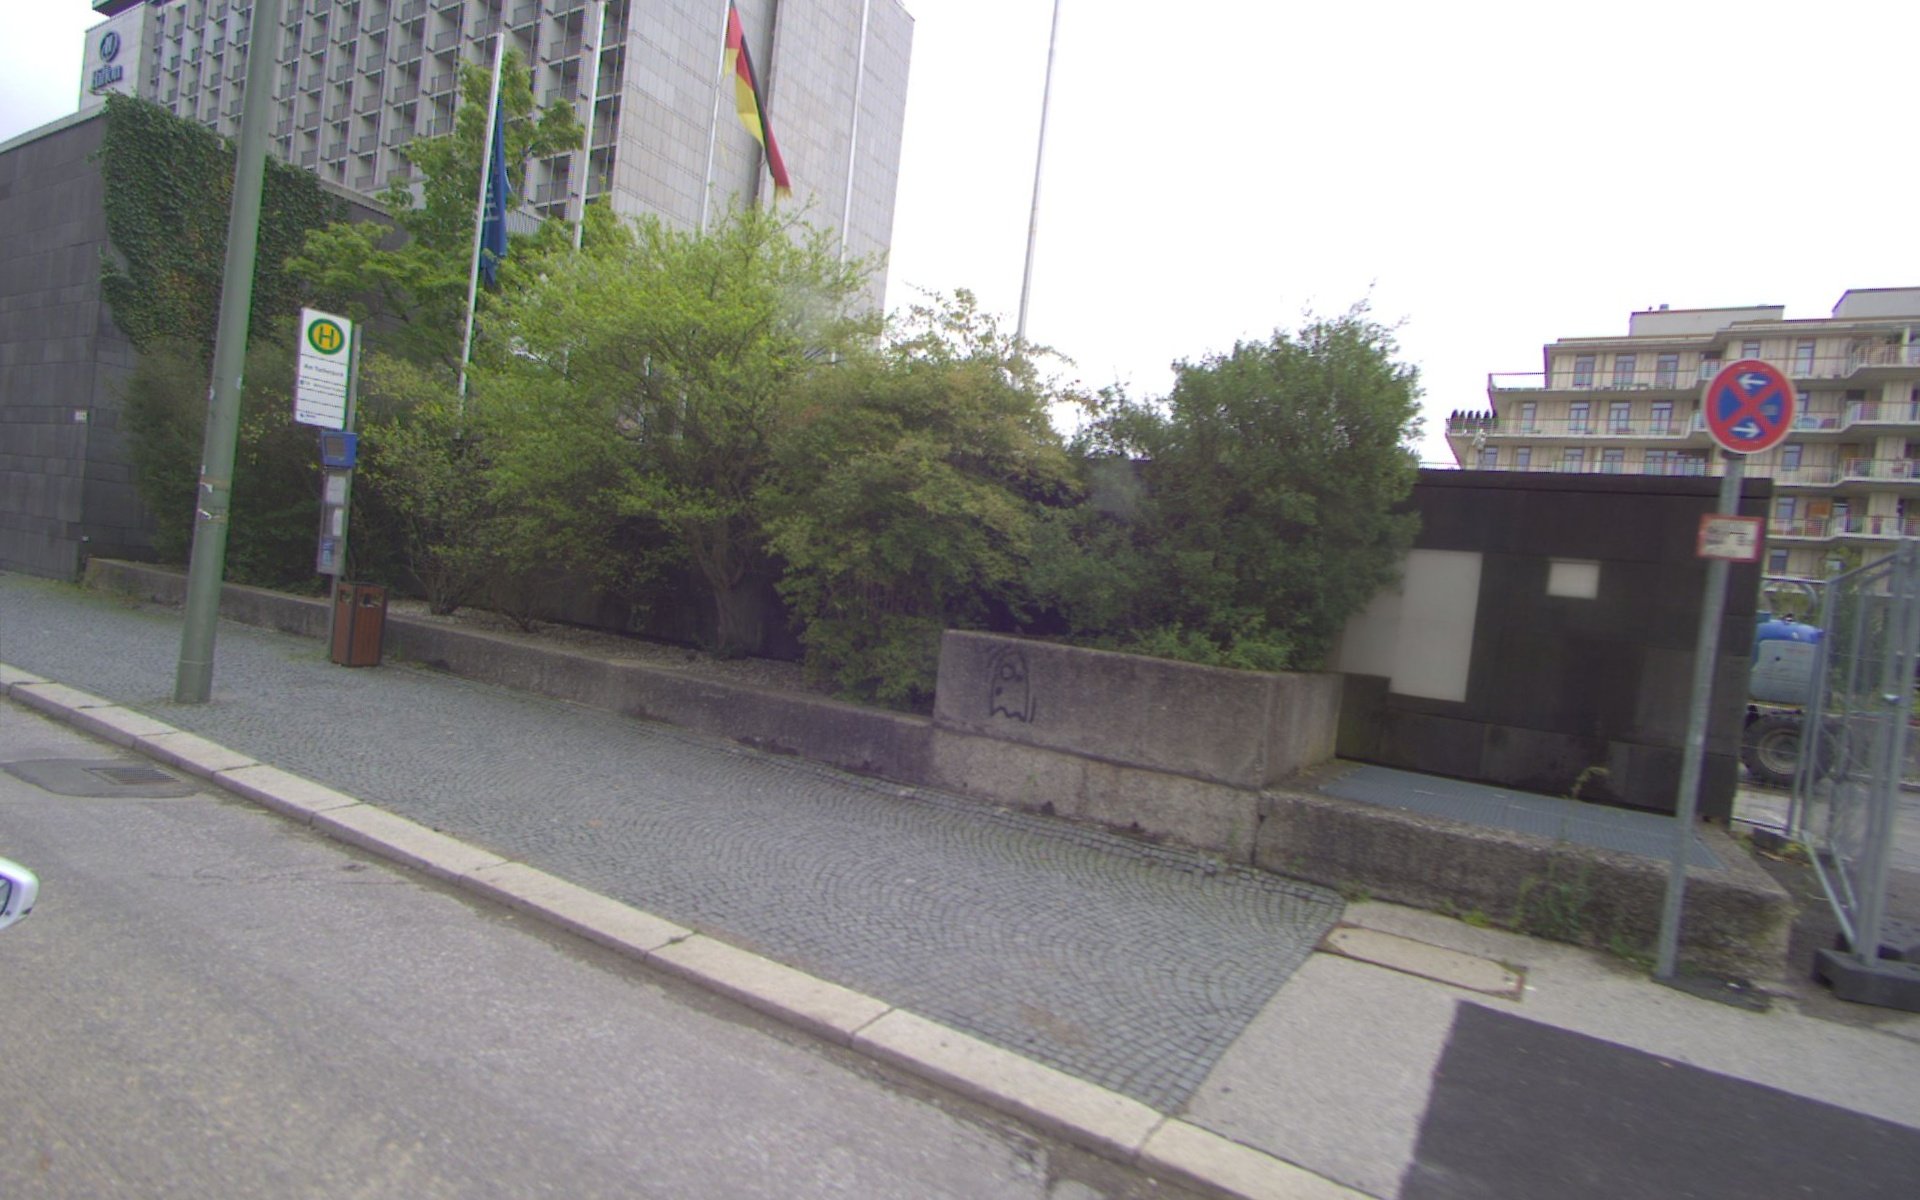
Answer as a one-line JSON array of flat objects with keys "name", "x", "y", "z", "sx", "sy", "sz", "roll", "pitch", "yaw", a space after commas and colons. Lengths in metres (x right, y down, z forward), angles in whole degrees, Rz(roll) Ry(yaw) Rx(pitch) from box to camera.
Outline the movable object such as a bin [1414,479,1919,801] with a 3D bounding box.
[{"name": "movable object such as a bin", "x": 11.003, "y": 0.487, "z": 16.375, "sx": 3.818, "sy": 3.731, "sz": 7.173, "roll": 6, "pitch": 1, "yaw": 2}]
